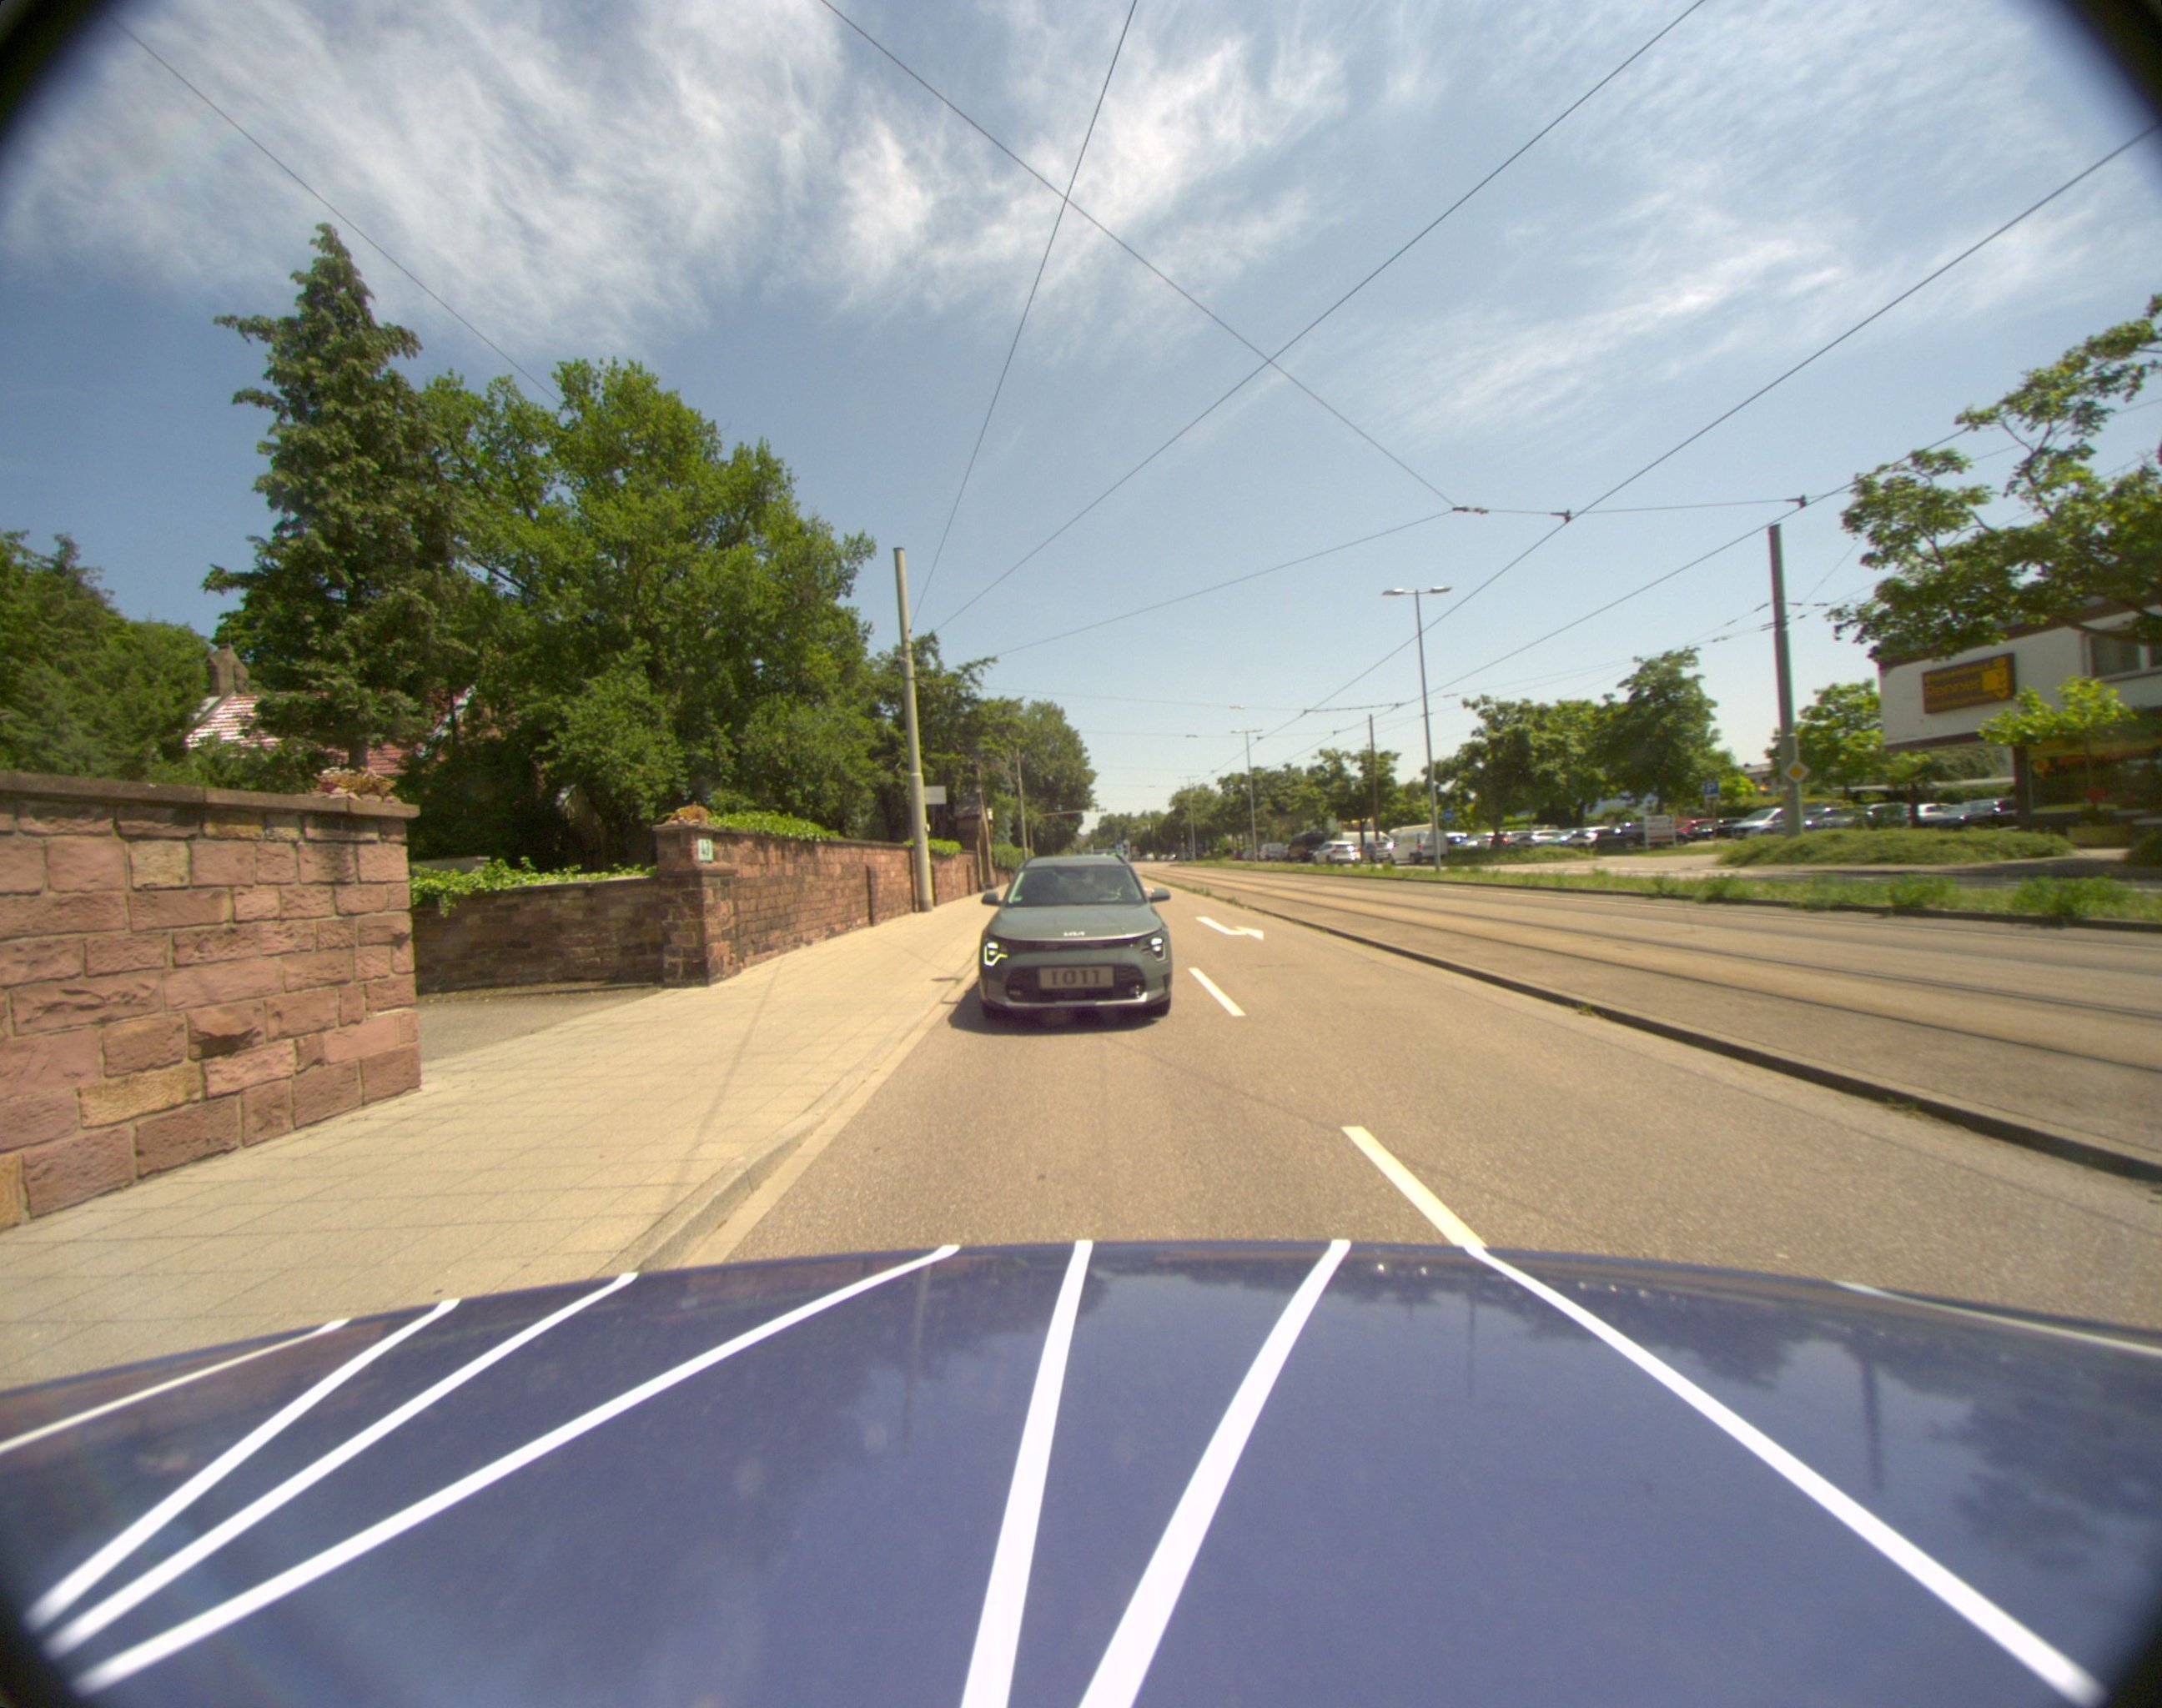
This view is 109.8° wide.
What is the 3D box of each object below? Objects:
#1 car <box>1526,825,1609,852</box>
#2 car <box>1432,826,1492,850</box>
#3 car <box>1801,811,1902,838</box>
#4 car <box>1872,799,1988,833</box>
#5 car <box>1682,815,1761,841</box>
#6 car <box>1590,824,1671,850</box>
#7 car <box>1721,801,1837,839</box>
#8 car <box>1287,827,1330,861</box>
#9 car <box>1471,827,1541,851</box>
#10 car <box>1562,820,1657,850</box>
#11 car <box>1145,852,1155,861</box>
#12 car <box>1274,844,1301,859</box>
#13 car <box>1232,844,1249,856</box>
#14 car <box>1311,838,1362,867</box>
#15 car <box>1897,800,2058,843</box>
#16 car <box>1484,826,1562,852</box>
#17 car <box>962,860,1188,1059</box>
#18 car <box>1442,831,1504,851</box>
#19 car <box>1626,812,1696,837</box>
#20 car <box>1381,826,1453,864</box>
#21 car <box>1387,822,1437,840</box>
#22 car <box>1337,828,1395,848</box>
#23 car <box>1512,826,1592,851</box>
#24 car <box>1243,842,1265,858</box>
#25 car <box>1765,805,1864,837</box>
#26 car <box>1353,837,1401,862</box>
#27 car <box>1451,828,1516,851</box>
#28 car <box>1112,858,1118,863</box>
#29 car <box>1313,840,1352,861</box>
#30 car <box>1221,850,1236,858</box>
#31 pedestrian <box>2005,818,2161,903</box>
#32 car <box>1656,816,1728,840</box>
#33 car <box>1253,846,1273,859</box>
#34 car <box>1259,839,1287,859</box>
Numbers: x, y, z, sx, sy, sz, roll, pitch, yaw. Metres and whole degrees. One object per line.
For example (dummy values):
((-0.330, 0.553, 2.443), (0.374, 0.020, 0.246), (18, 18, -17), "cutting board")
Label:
((30.471, -0.942, 47.613), (4.040, 1.481, 1.912), (-2, 1, -6), "car")
((31.695, -1.287, 63.221), (3.998, 1.708, 1.797), (-3, 0, -3), "car")
((42.816, -1.619, 42.262), (3.724, 1.277, 1.764), (-2, 1, 3), "car")
((43.958, -1.954, 39.396), (3.996, 1.511, 1.661), (-2, 1, 3), "car")
((43.903, -1.790, 52.136), (3.997, 1.576, 1.684), (-2, 1, -1), "car")
((30.591, -0.918, 42.360), (3.423, 1.225, 1.643), (-3, 0, -6), "car")
((43.420, -2.082, 47.380), (5.120, 2.058, 2.226), (-2, 1, 1), "car")
((20.325, -0.892, 68.142), (2.243, 2.821, 5.667), (-2, 1, 1), "car")
((30.929, -1.084, 55.311), (4.075, 1.481, 1.831), (-3, 0, -6), "car")
((31.188, -1.094, 44.927), (4.171, 1.481, 1.984), (-3, 0, -1), "car")
((16.110, 0.520, 177.502), (1.821, 1.979, 4.212), (-2, 1, -3), "car")
((20.686, -0.269, 76.199), (1.767, 1.456, 3.608), (-2, 1, 2), "car")
((20.734, -0.513, 98.820), (1.582, 1.471, 3.423), (-2, 1, 3), "car")
((15.882, -0.116, 47.422), (1.728, 1.601, 4.570), (-2, 1, 2), "car")
((34.094, -1.225, 28.981), (3.996, 1.289, 1.682), (-4, 0, 2), "car")
((30.493, -1.041, 52.481), (4.163, 1.481, 2.023), (-3, 0, -6), "car")
((-0.057, 0.891, 8.444), (1.824, 1.577, 4.287), (-2, 0, 0), "car")
((31.245, -1.036, 60.567), (3.998, 1.398, 1.797), (-2, 0, -3), "car")
((43.801, -2.193, 57.396), (4.129, 1.643, 1.692), (-3, 0, -5), "car")
((20.154, -0.528, 45.822), (1.880, 1.999, 5.344), (-6, 0, 1), "car")
((44.639, -3.089, 102.541), (5.744, 2.051, 2.147), (-2, 1, -2), "car")
((30.854, -1.712, 82.351), (5.434, 1.944, 2.029), (-2, 1, 2), "car")
((30.997, -1.021, 50.068), (4.146, 1.481, 1.859), (-2, 1, -6), "car")
((20.957, -0.492, 92.284), (1.635, 1.882, 4.496), (-2, 1, 1), "car")
((43.328, -1.927, 44.959), (3.996, 1.647, 1.804), (-2, 1, 3), "car")
((20.219, -0.302, 52.062), (1.654, 1.494, 4.126), (-6, 0, 1), "car")
((30.584, -1.089, 57.806), (3.999, 1.479, 1.866), (-3, 0, -6), "car")
((11.368, 2.038, 251.447), (1.820, 1.471, 3.423), (-2, 1, 3), "car")
((20.397, -0.265, 61.784), (1.976, 1.568, 3.752), (-2, 1, 1), "car")
((21.459, -0.021, 110.872), (1.582, 1.152, 3.423), (-2, 1, 3), "car")
((26.730, 0.125, 19.152), (1.998, 2.002, 3.999), (-2, 1, 0), "pedestrian")
((44.300, -1.878, 55.117), (3.999, 1.486, 1.715), (-2, 1, -5), "car")
((20.952, -0.176, 87.548), (1.429, 1.470, 3.262), (-2, 1, 1), "car")
((20.668, -0.555, 82.048), (1.924, 1.937, 4.817), (-2, 1, 2), "car")
